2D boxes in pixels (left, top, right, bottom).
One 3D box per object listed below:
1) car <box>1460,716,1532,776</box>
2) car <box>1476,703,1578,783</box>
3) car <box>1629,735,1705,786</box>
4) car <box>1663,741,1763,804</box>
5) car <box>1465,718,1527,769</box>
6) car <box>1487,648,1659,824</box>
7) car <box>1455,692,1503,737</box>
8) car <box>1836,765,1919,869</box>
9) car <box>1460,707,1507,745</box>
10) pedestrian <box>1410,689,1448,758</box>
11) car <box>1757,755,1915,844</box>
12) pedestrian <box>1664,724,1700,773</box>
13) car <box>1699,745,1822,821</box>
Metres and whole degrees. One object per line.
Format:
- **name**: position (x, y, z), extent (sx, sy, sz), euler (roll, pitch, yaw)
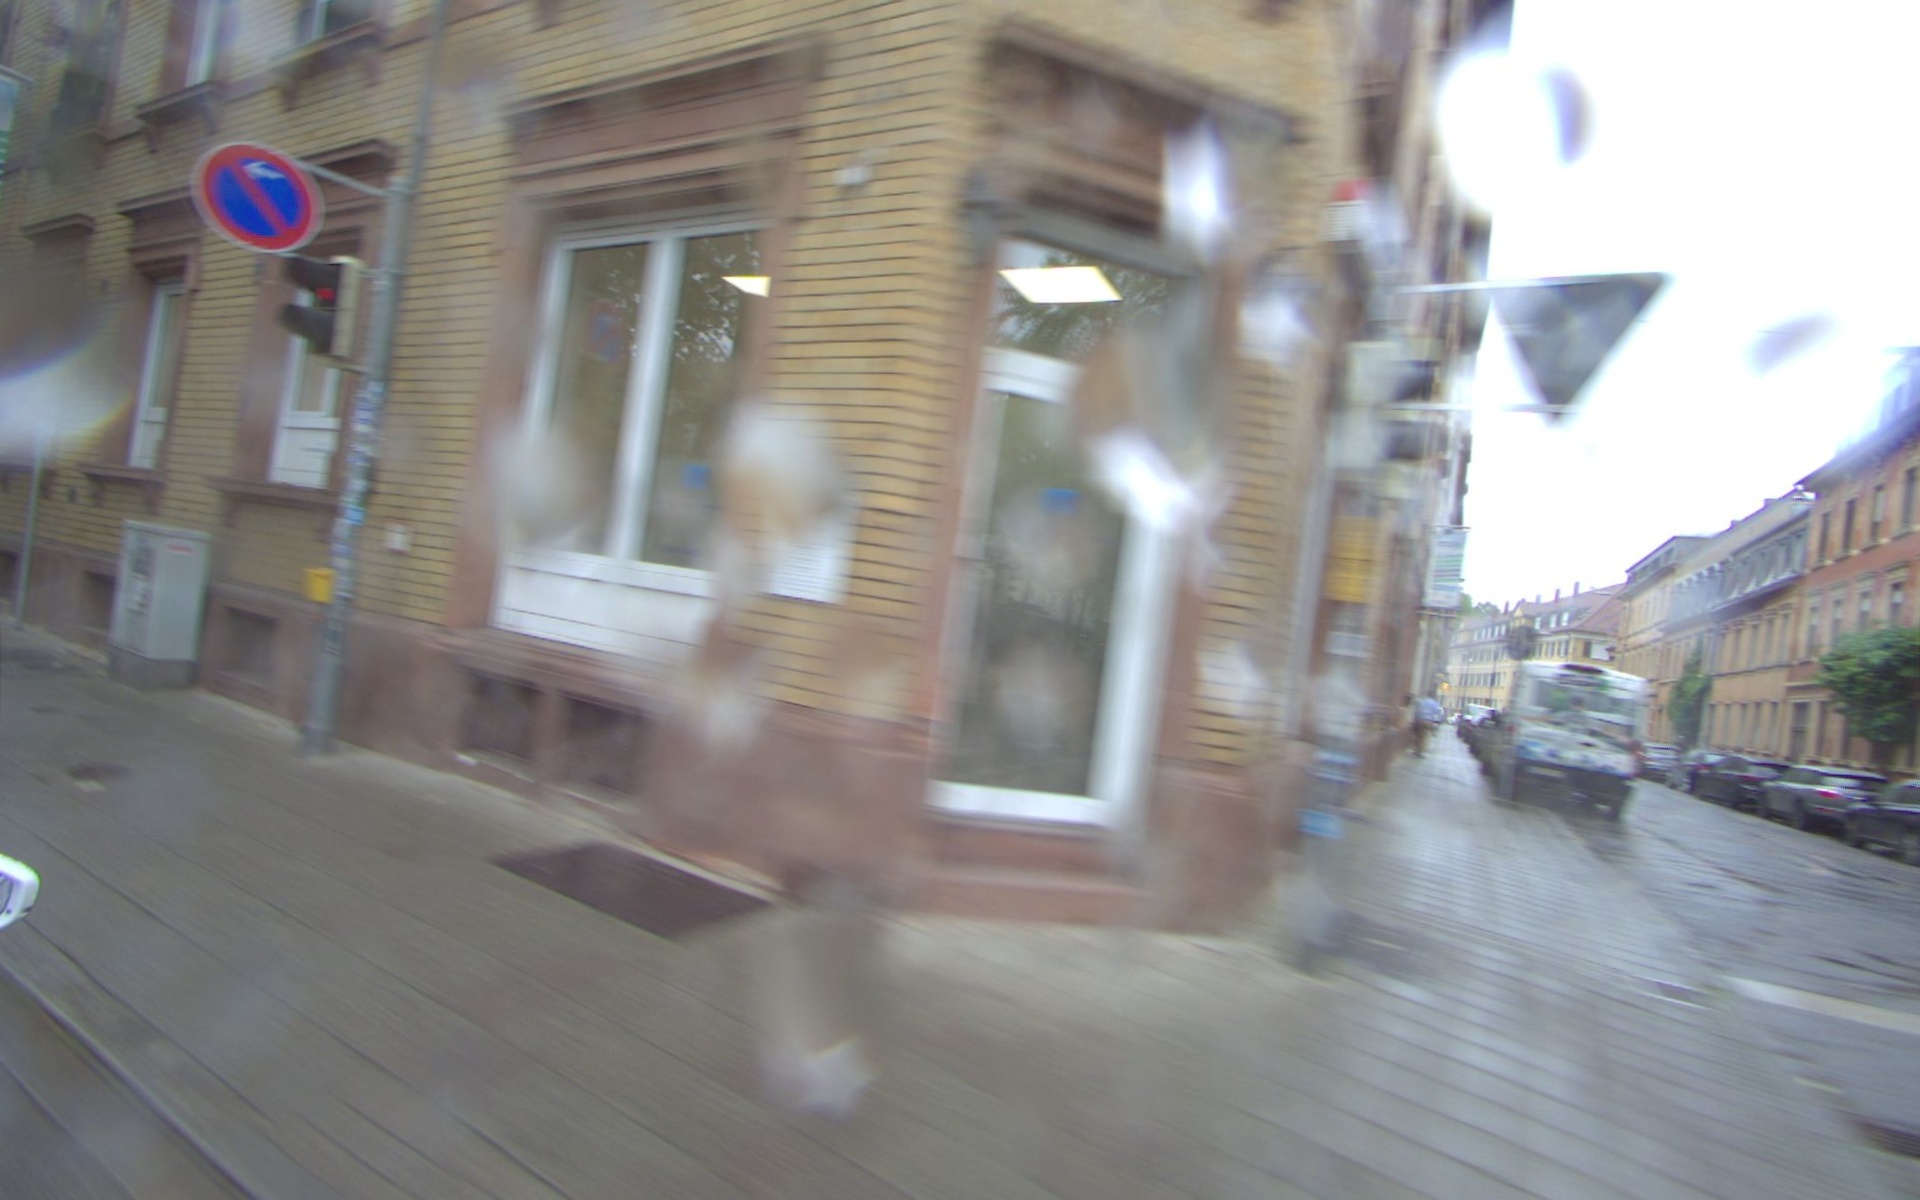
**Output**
- **car**: position (17.323, 4.667, 32.642), extent (1.762, 1.552, 3.739), euler (5, -3, 26)
- **car**: position (13.585, 3.374, 24.293), extent (1.762, 1.552, 3.739), euler (5, -3, 26)
- **car**: position (28.226, 6.370, 40.258), extent (1.762, 1.552, 3.739), euler (5, -3, 26)
- **car**: position (24.112, 5.482, 32.352), extent (1.762, 1.552, 3.739), euler (5, -3, 26)
- **car**: position (19.989, 5.309, 37.624), extent (1.762, 1.552, 3.739), euler (5, -3, 26)
- **car**: position (11.170, 2.414, 18.691), extent (2.085, 2.541, 4.745), euler (8, -1, 28)
- **car**: position (28.198, 6.202, 54.756), extent (1.965, 2.037, 3.999), euler (8, -2, 26)
- **car**: position (17.562, 3.938, 17.887), extent (1.762, 1.508, 4.423), euler (5, -3, 26)
- **car**: position (25.846, 6.208, 49.766), extent (1.762, 1.552, 3.739), euler (5, -3, 26)
- **pedestrian**: position (12.057, 3.162, 25.850), extent (0.687, 1.633, 0.691), euler (8, -2, 27)
- **car**: position (20.024, 4.514, 23.166), extent (1.762, 1.451, 3.476), euler (5, -3, 26)
- **pedestrian**: position (33.091, 6.800, 46.143), extent (0.974, 2.037, 1.104), euler (8, 0, 29)
- **car**: position (21.655, 4.895, 27.351), extent (1.762, 1.552, 3.476), euler (5, -3, 26)
